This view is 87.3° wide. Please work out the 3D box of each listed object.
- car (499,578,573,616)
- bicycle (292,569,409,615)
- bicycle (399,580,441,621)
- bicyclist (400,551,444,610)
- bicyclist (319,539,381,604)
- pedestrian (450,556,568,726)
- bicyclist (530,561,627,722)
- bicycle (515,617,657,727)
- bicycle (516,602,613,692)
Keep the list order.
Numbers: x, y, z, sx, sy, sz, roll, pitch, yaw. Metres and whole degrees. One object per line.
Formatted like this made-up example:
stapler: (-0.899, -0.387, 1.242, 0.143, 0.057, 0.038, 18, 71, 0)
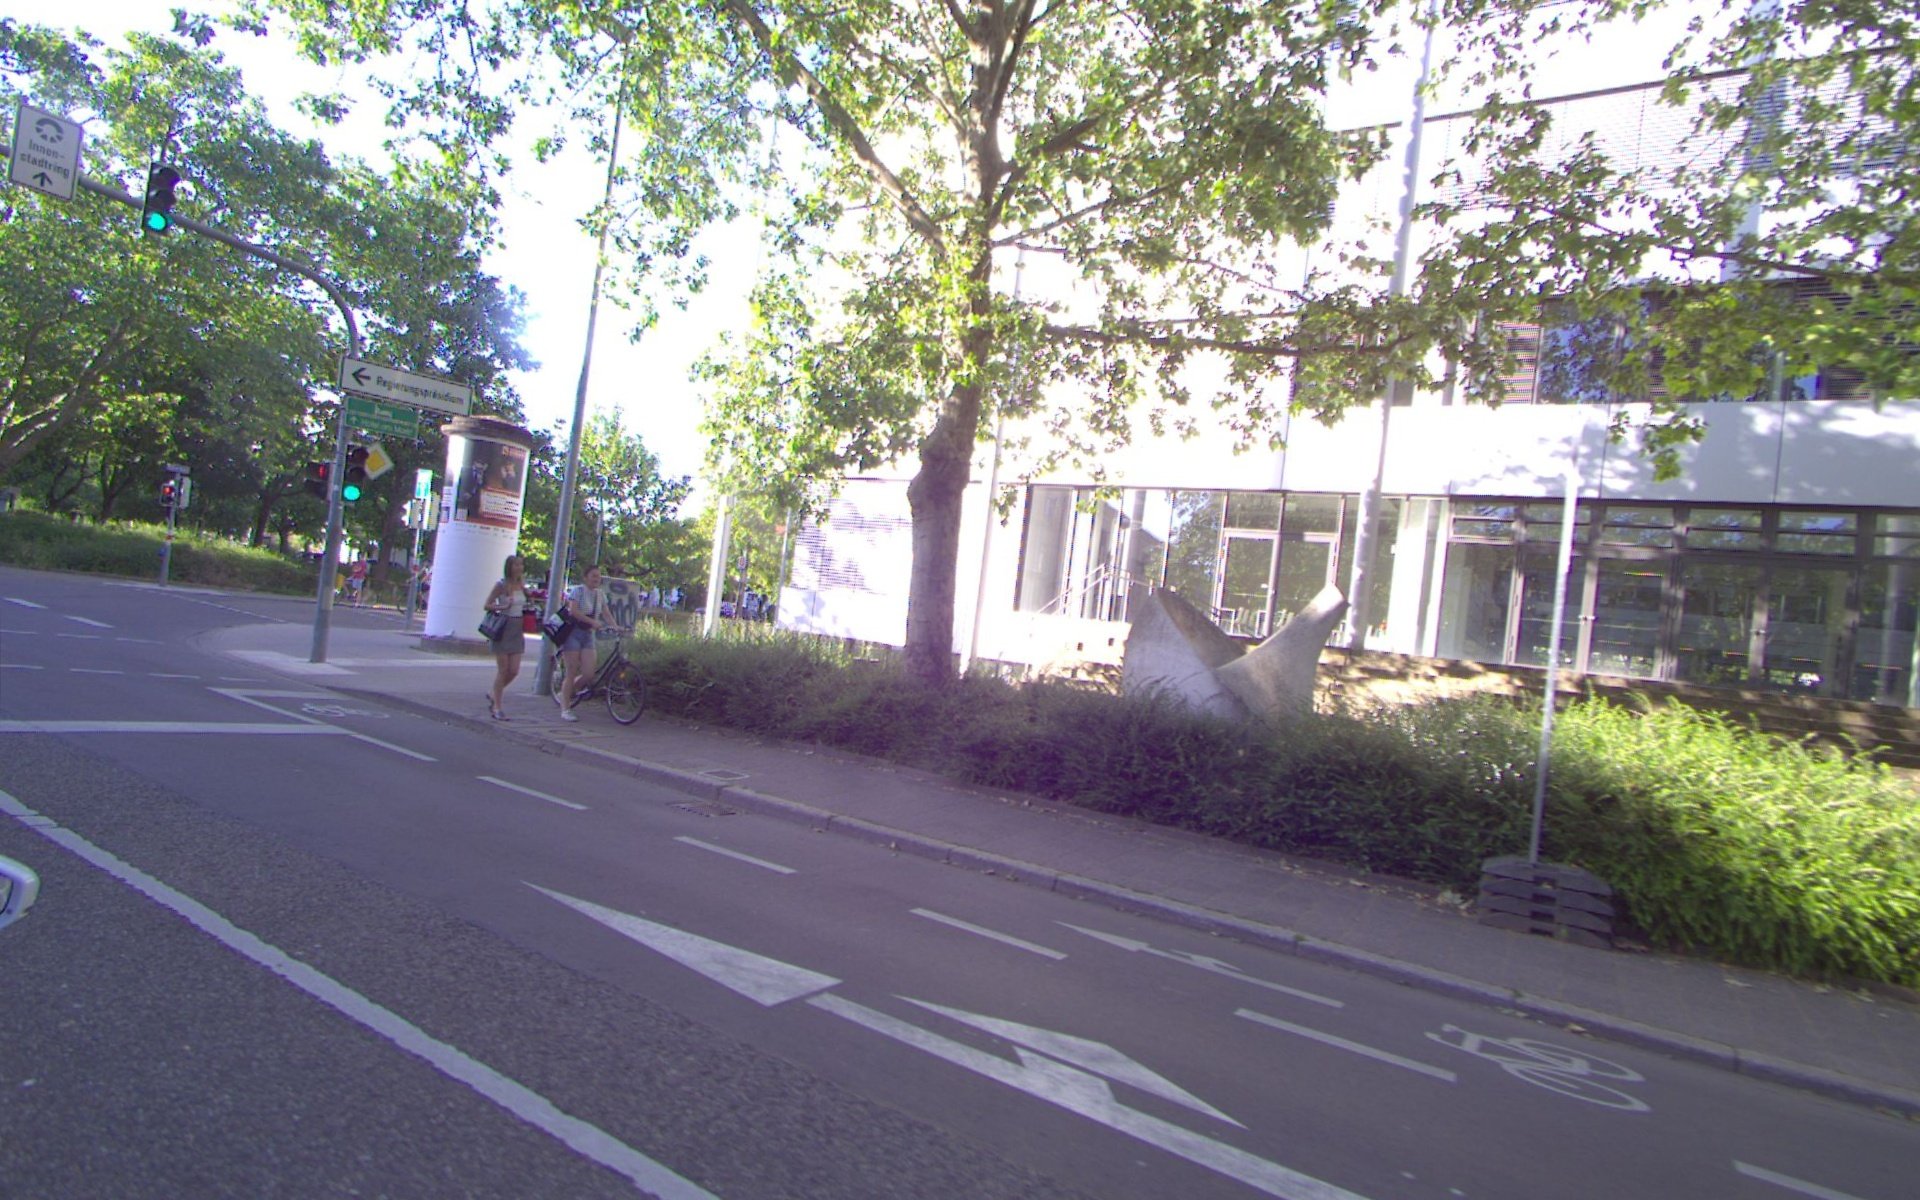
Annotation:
car: (-25.245, -0.175, 59.825, 3.934, 1.800, 1.997, 6, -2, 32)
bicycle: (-18.899, -0.228, 31.298, 0.926, 1.050, 3.004, 6, -3, 28)
bicycle: (-15.947, 0.030, 29.740, 0.971, 1.064, 2.644, 6, -3, -27)
bicyclist: (-15.842, -0.580, 29.657, 0.942, 1.565, 1.118, 7, 1, -27)
bicyclist: (-18.890, -0.879, 31.153, 0.961, 1.829, 1.131, 6, -2, 29)
pedestrian: (-4.863, 0.448, 10.875, 0.681, 1.739, 0.775, 4, -3, 30)
bicyclist: (-4.318, 0.470, 11.399, 0.644, 1.734, 0.633, 4, -1, 30)
bicycle: (-4.304, 0.814, 11.532, 1.620, 1.046, 0.522, 6, -2, 31)
bicycle: (-5.780, 0.687, 14.838, 0.462, 1.196, 1.995, 6, -2, 2)
